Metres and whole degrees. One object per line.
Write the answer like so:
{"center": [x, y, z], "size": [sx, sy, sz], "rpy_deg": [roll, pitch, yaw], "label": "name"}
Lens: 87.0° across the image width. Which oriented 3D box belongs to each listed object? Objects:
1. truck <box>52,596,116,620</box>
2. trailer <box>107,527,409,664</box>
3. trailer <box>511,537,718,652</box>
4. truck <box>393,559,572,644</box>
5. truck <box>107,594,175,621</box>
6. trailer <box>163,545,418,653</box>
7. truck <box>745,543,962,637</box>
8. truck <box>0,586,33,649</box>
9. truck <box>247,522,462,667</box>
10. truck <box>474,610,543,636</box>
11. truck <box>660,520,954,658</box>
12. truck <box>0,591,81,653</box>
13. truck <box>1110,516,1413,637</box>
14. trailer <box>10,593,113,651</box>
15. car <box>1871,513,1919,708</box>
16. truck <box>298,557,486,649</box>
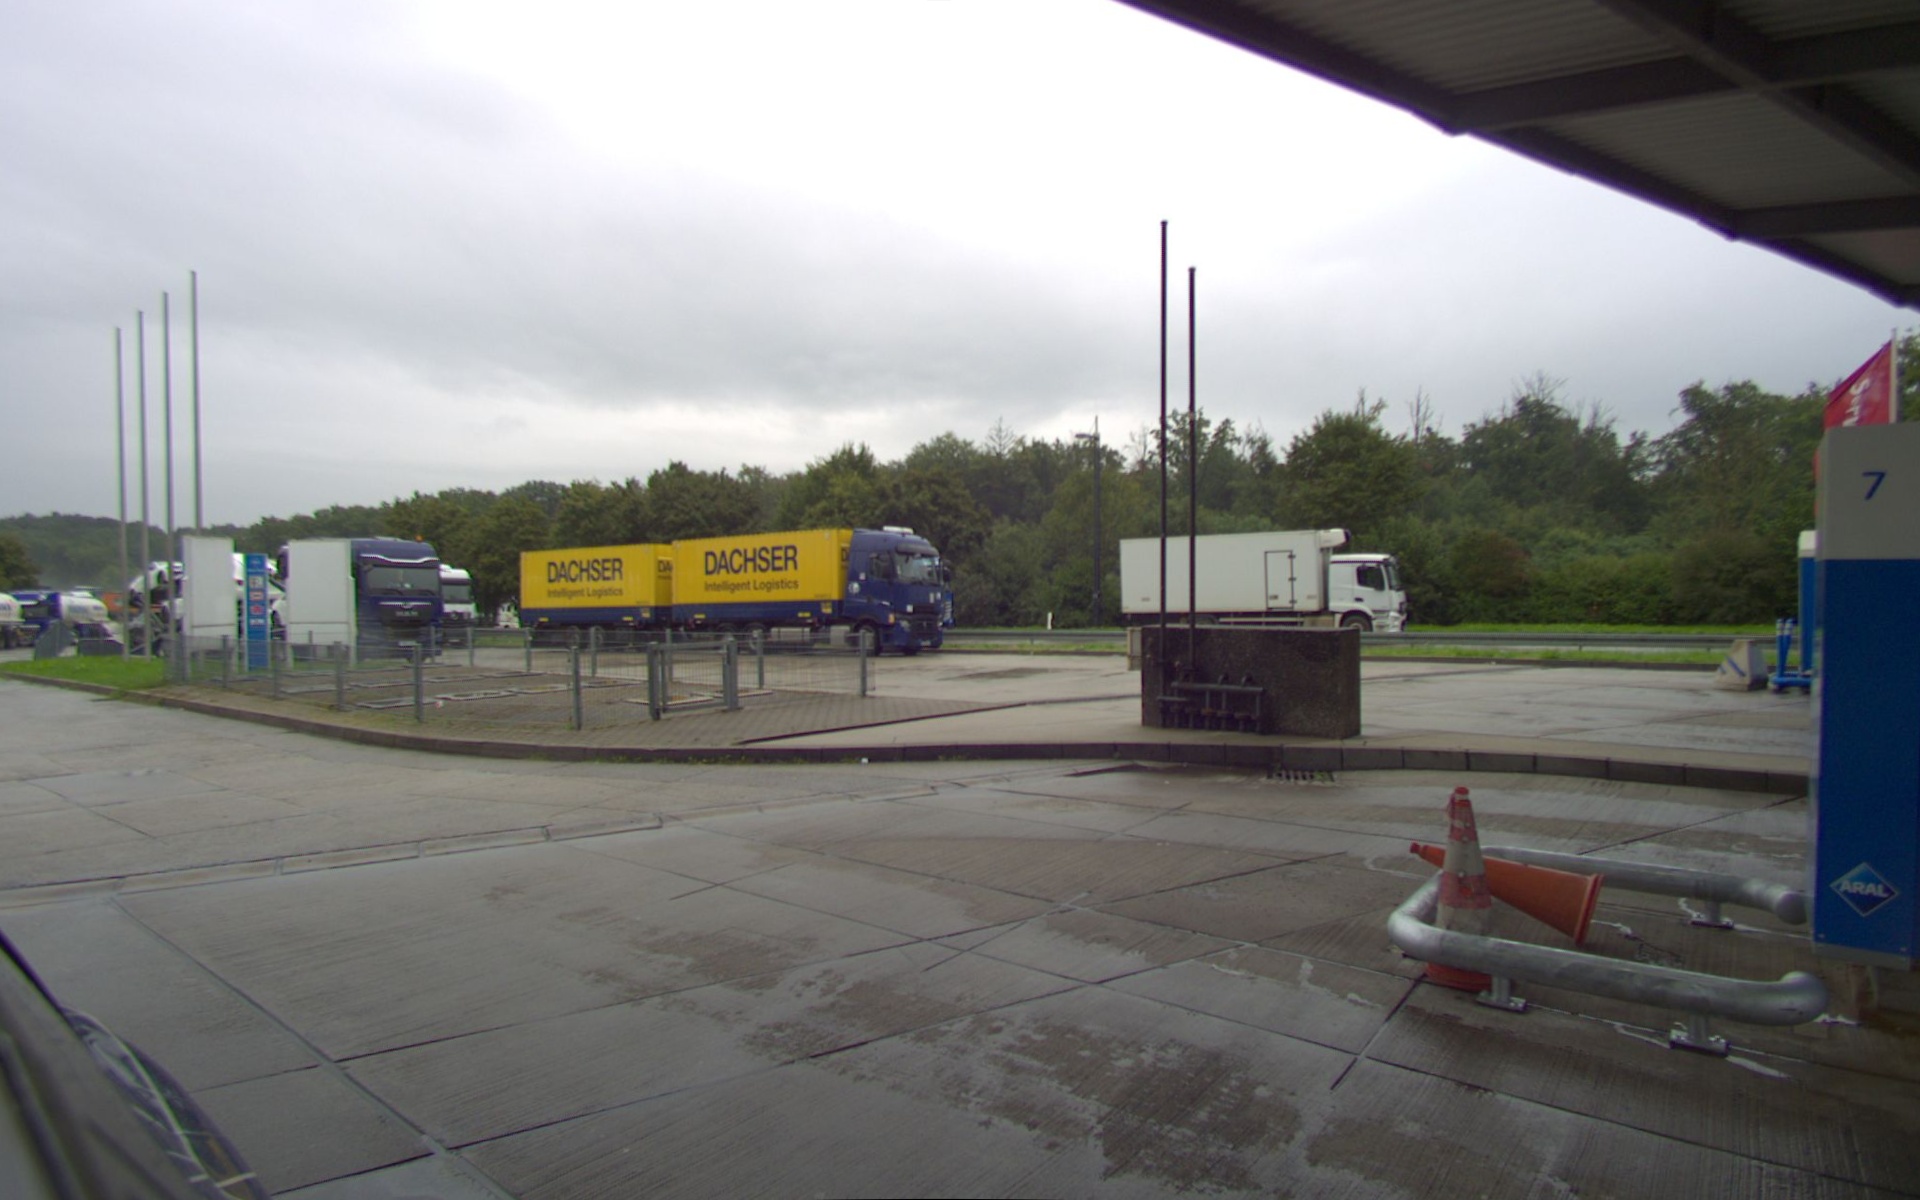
{"center": [-133.104, 1.248, 153.641], "size": [16.515, 3.591, 3.215], "rpy_deg": [-1, 0, 34], "label": "truck"}
{"center": [-25.424, -0.058, 35.921], "size": [16.563, 4.063, 2.957], "rpy_deg": [-1, 0, 34], "label": "trailer"}
{"center": [-13.553, -0.168, 39.286], "size": [8.833, 4.063, 2.743], "rpy_deg": [-1, 0, 33], "label": "trailer"}
{"center": [-24.789, 0.140, 52.271], "size": [10.433, 4.063, 2.961], "rpy_deg": [-1, 0, 30], "label": "truck"}
{"center": [-114.194, 1.021, 140.964], "size": [14.626, 3.591, 3.215], "rpy_deg": [0, -1, 34], "label": "truck"}
{"center": [-28.445, 0.026, 42.608], "size": [13.747, 4.063, 2.962], "rpy_deg": [-1, 0, 29], "label": "trailer"}
{"center": [-5.148, -0.379, 47.688], "size": [10.433, 4.063, 2.961], "rpy_deg": [-1, 0, 30], "label": "truck"}
{"center": [-55.567, 1.019, 55.009], "size": [3.196, 3.591, 12.013], "rpy_deg": [-1, 0, -19], "label": "truck"}
{"center": [-18.999, -0.115, 31.618], "size": [7.244, 4.063, 2.957], "rpy_deg": [-1, 0, 34], "label": "truck"}
{"center": [-42.606, 2.178, 95.437], "size": [6.158, 2.321, 3.101], "rpy_deg": [-1, -1, 33], "label": "truck"}
{"center": [-5.397, -0.273, 33.954], "size": [10.608, 4.063, 2.743], "rpy_deg": [-1, 0, 33], "label": "truck"}
{"center": [-59.434, 1.371, 64.988], "size": [3.000, 3.795, 6.486], "rpy_deg": [-1, 0, -27], "label": "truck"}
{"center": [11.045, -0.739, 37.711], "size": [10.433, 4.063, 2.961], "rpy_deg": [-1, 0, 30], "label": "truck"}
{"center": [-62.280, 1.434, 70.474], "size": [2.854, 3.666, 10.605], "rpy_deg": [-1, 0, -28], "label": "trailer"}
{"center": [14.875, 0.109, 12.389], "size": [5.272, 2.482, 2.298], "rpy_deg": [-1, -2, 37], "label": "car"}
{"center": [-27.309, 0.175, 48.442], "size": [10.433, 4.063, 2.961], "rpy_deg": [-1, 0, 30], "label": "truck"}
